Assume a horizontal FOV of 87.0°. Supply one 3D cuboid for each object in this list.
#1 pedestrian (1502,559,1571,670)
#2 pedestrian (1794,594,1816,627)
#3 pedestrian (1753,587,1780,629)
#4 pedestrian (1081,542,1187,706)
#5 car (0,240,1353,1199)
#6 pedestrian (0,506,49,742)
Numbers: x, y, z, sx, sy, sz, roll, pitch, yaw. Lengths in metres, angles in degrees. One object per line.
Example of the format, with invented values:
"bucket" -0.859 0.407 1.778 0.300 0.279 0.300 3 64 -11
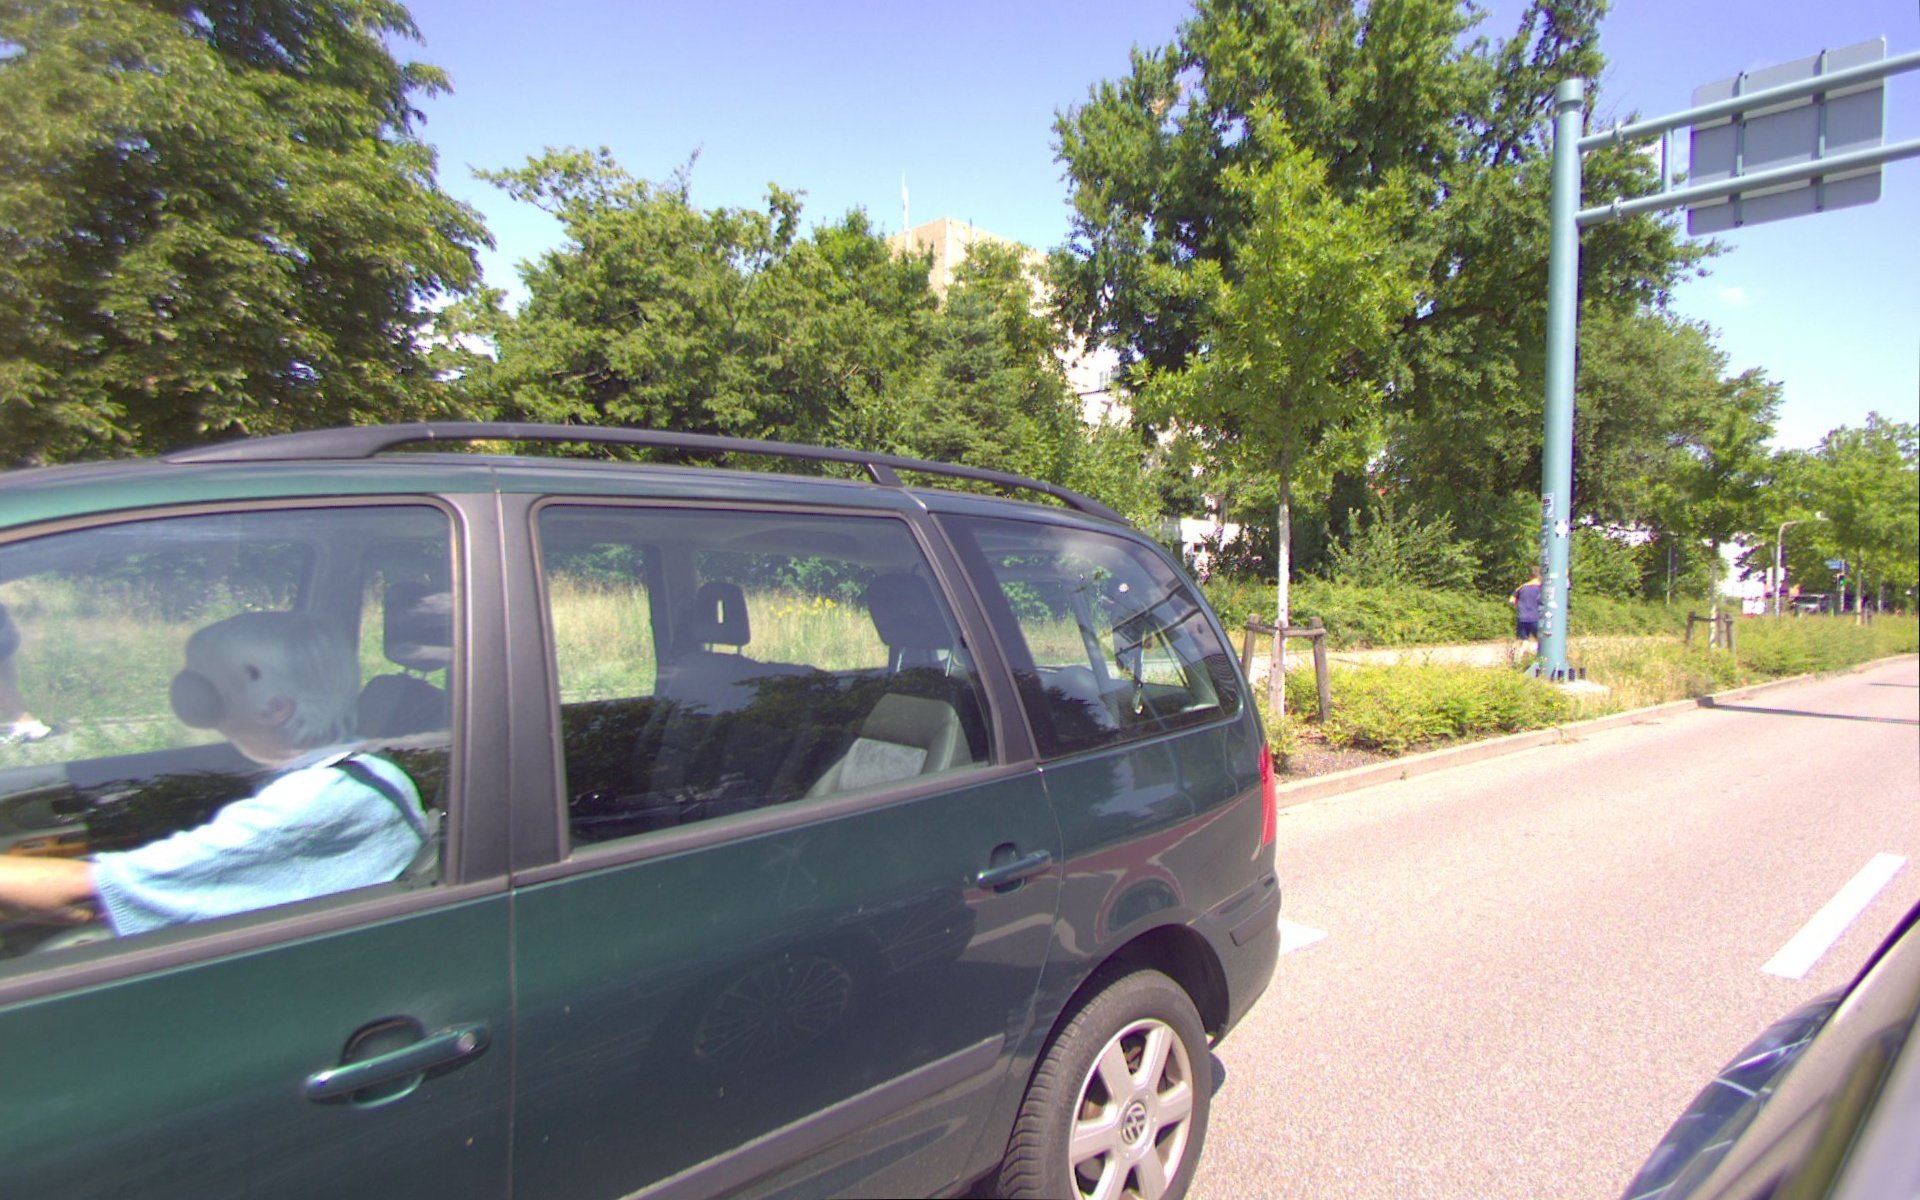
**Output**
"pedestrian" 9.531 0.231 16.732 0.869 1.787 0.640 1 1 -35
"pedestrian" 41.680 0.516 49.908 0.752 1.630 0.765 1 1 -45
"pedestrian" 40.585 0.377 50.918 0.838 2.063 0.893 1 0 27
"pedestrian" 1.880 0.242 10.994 0.799 1.705 0.762 1 1 -29
"car" -1.153 0.525 1.975 4.315 1.737 1.804 0 -1 -41
"pedestrian" -6.813 0.151 6.929 0.802 1.576 0.760 1 1 -40
